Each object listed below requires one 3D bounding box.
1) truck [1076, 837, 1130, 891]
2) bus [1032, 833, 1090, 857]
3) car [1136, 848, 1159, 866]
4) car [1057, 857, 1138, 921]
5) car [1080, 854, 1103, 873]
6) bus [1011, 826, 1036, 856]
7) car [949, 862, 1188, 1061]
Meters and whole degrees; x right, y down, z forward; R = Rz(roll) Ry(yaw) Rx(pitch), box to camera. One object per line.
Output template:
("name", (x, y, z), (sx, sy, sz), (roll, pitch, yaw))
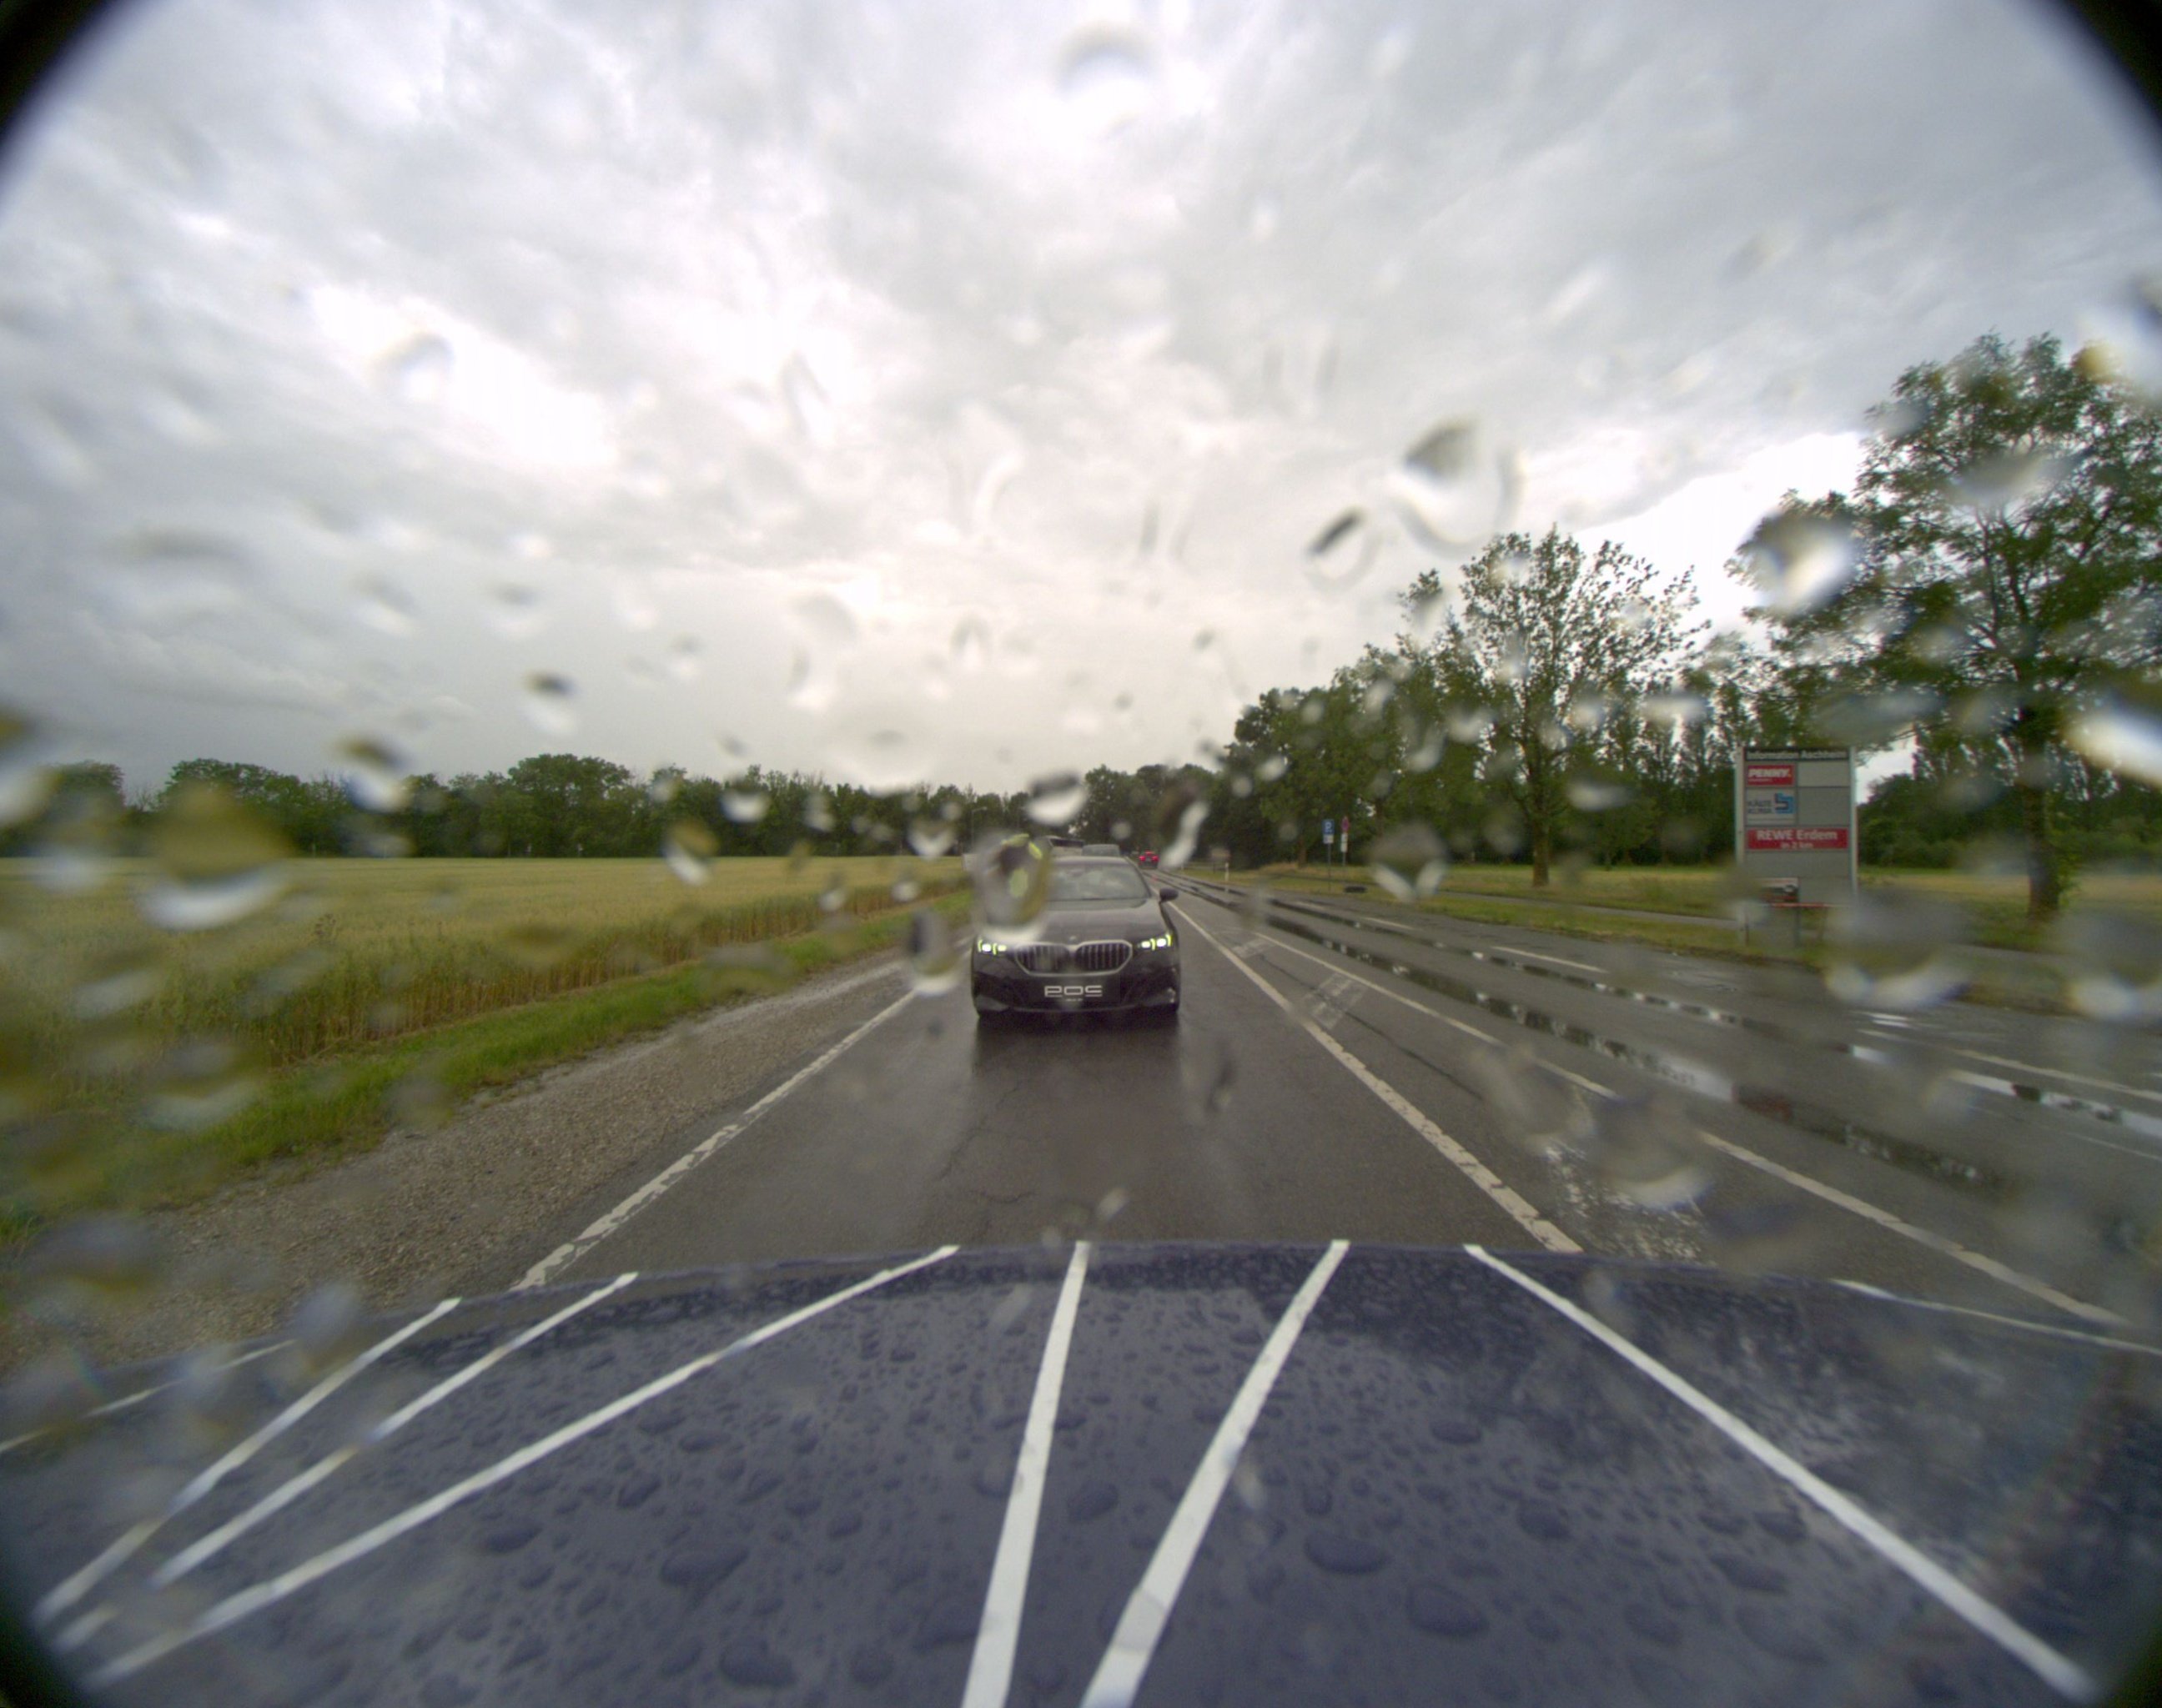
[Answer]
("truck", (0.890, 0.381, 33.469), (2.075, 2.050, 5.768), (-3, 1, 0))
("bus", (-2.823, -1.335, 114.937), (2.850, 3.417, 14.318), (1, 1, 24))
("car", (6.494, 0.270, 74.801), (1.921, 1.622, 4.357), (0, 1, 1))
("car", (0.466, 0.871, 20.454), (1.891, 1.482, 4.192), (-2, 0, 2))
("car", (0.899, 0.805, 65.780), (1.892, 1.522, 4.501), (-1, 0, 0))
("bus", (-7.277, -1.628, 97.895), (2.997, 3.665, 14.288), (0, 1, -3))
("car", (-0.032, 0.892, 8.126), (1.891, 1.484, 4.035), (-1, 1, 2))
